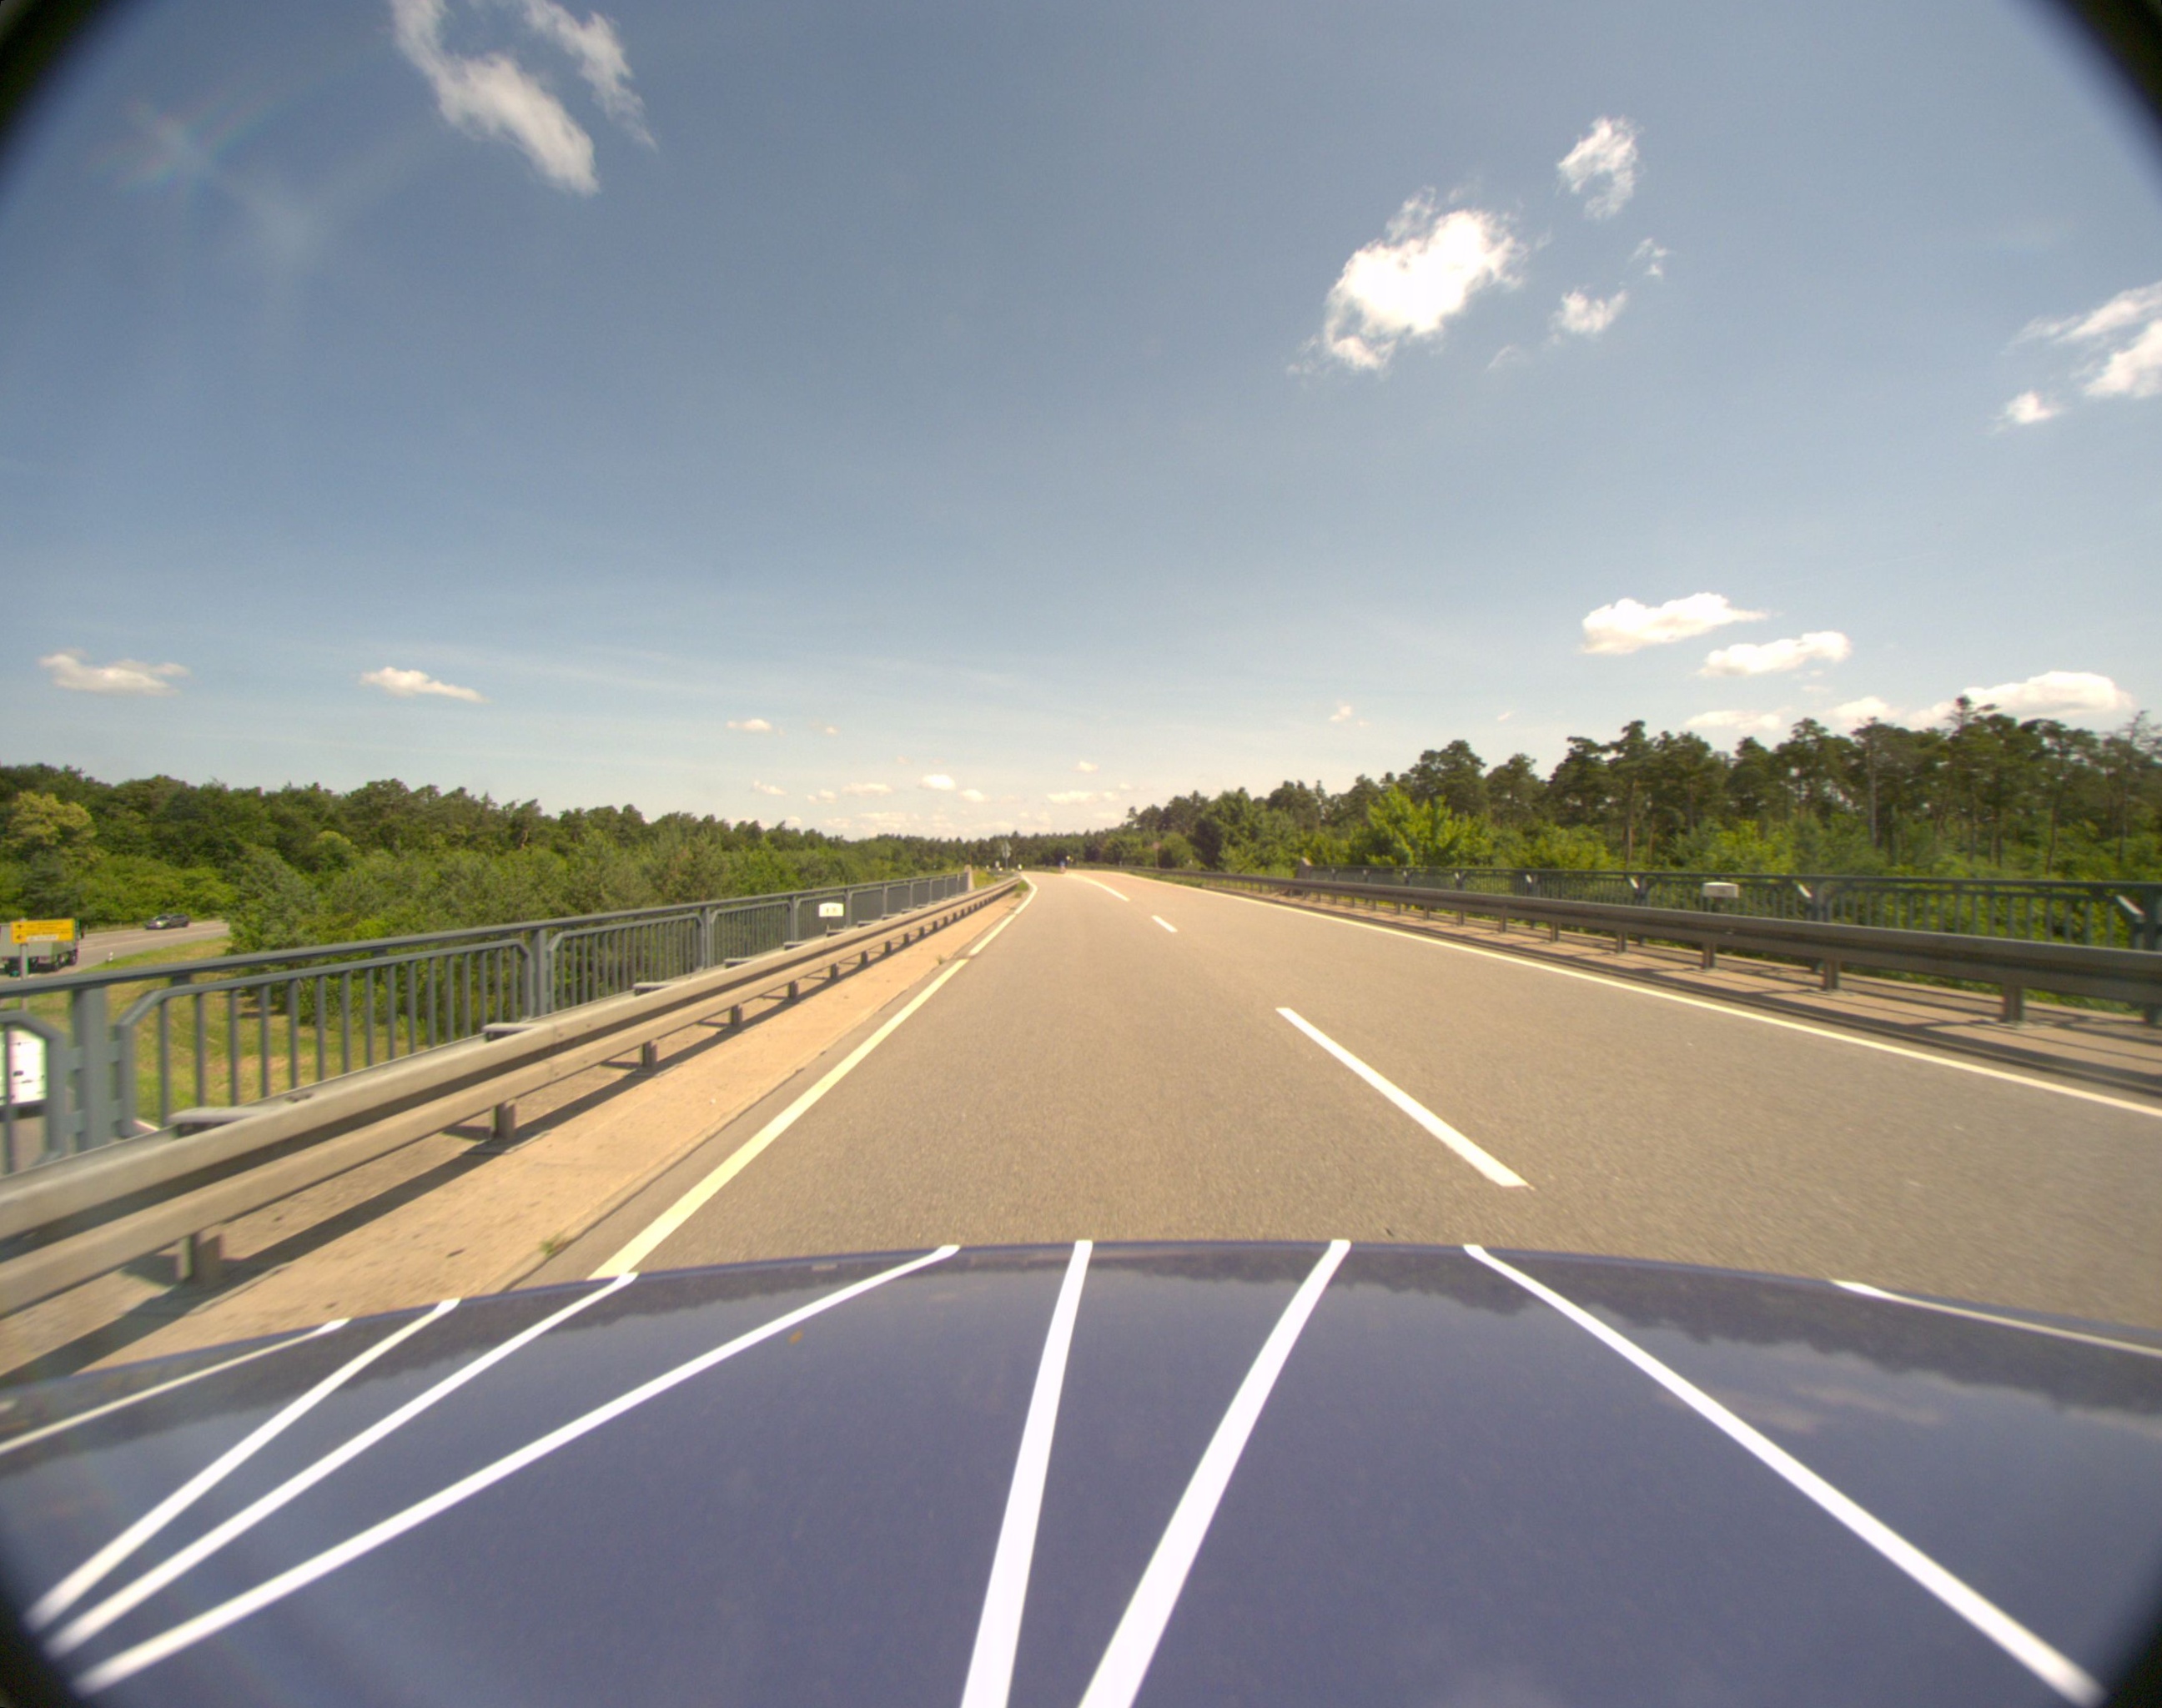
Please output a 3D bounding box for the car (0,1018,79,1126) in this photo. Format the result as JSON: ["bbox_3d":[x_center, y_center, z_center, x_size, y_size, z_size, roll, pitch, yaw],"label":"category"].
[{"bbox_3d":[-38.322,7.702,27.198,6.335,2.634,2.041,0,-1,29],"label":"car"}]

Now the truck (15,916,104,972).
[{"bbox_3d":[-83.164,7.177,62.012,2.297,3.697,8.998,2,-1,-40],"label":"truck"}]

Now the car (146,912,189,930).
[{"bbox_3d":[-110.739,8.136,92.141,1.910,1.952,4.430,2,-3,-31],"label":"car"}]
